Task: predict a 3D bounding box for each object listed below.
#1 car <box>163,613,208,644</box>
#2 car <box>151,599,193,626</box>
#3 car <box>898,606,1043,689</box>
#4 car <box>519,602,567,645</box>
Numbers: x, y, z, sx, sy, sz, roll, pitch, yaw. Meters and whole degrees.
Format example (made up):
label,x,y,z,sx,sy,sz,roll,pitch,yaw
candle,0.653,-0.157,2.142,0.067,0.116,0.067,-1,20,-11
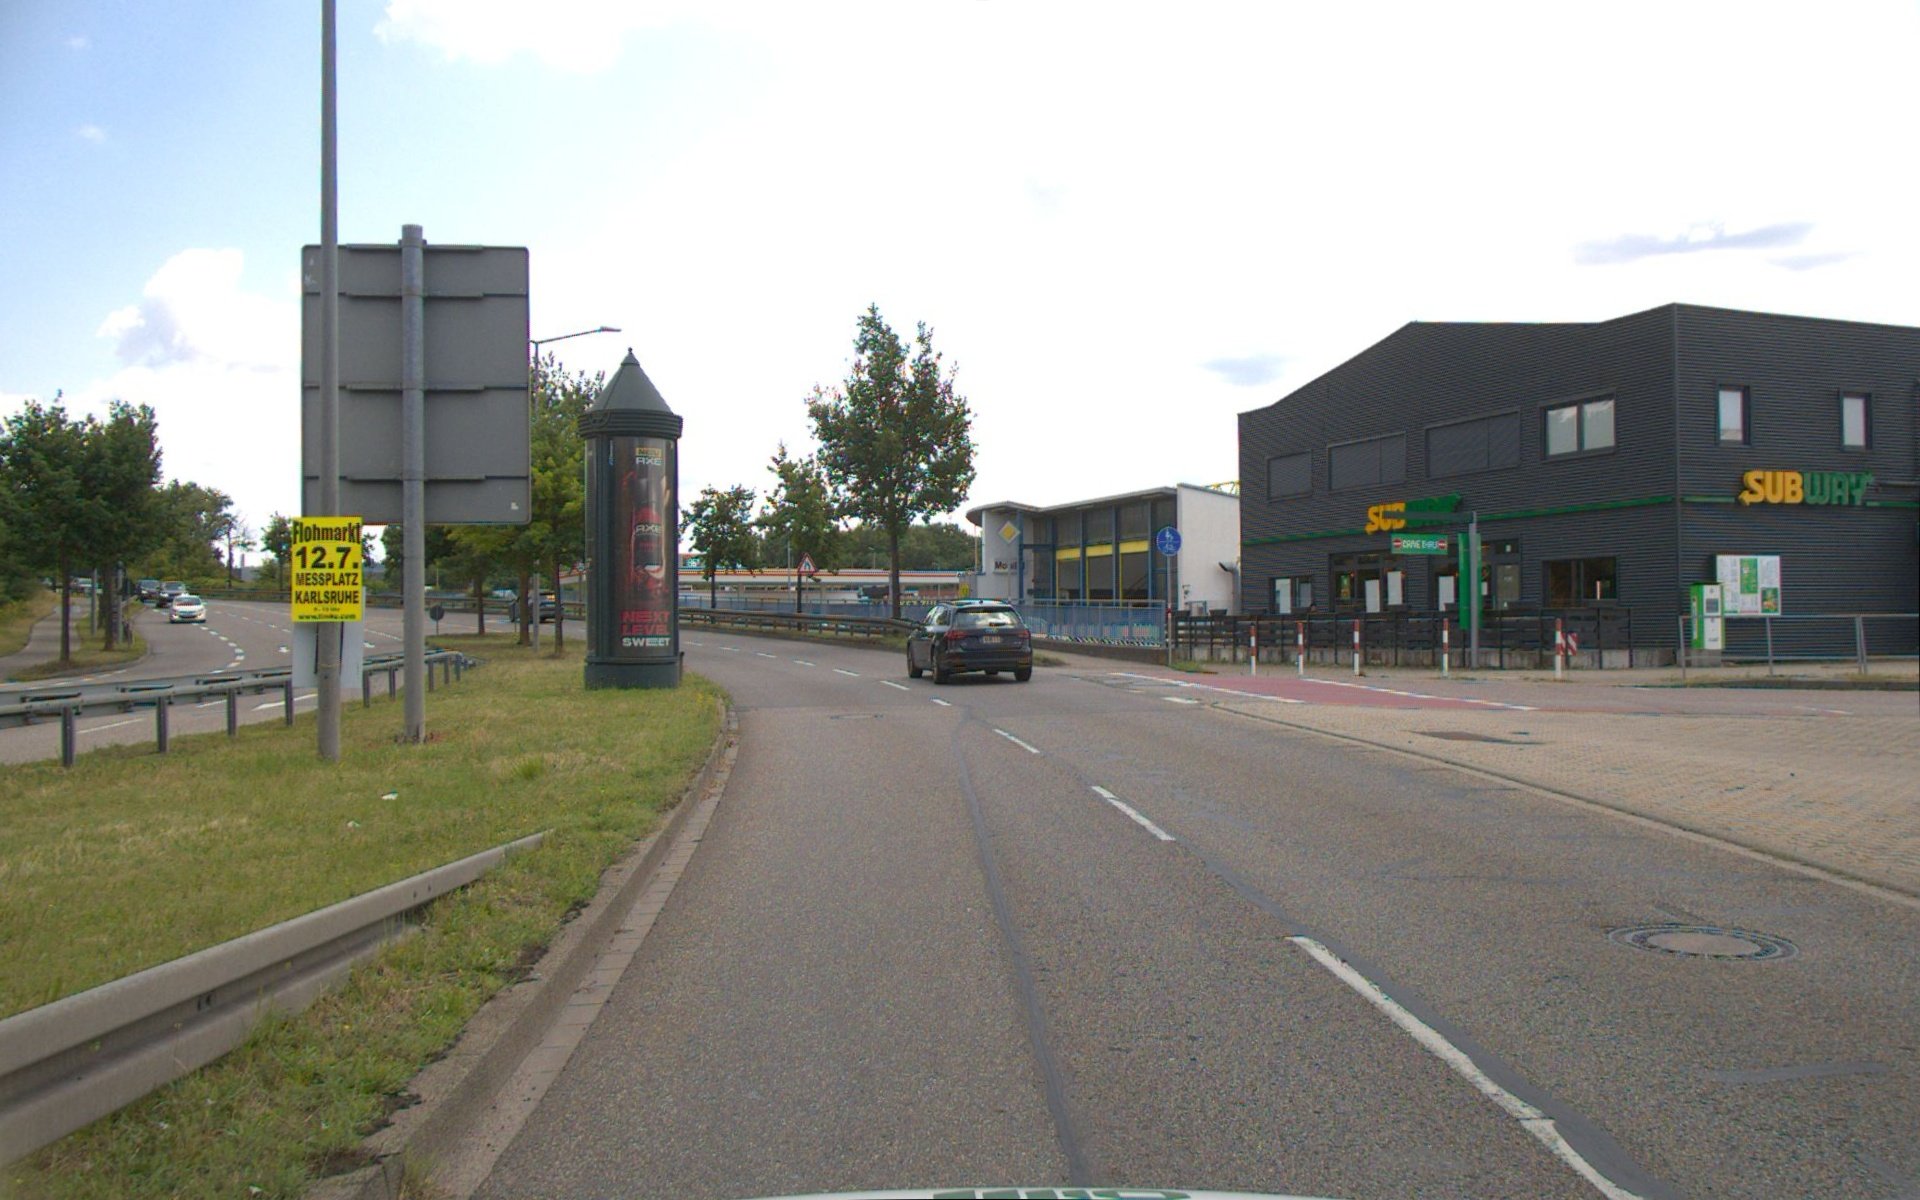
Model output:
label,x,y,z,sx,sy,sz,roll,pitch,yaw
car,-43.146,1.601,92.221,1.966,1.559,4.301,-3,0,-22
car,-55.763,0.889,117.031,1.976,1.894,4.658,-1,-1,-34
car,0.108,0.839,30.739,1.957,1.415,4.565,1,-1,-9
car,-21.578,1.245,85.444,1.964,2.073,4.685,0,-2,-20
